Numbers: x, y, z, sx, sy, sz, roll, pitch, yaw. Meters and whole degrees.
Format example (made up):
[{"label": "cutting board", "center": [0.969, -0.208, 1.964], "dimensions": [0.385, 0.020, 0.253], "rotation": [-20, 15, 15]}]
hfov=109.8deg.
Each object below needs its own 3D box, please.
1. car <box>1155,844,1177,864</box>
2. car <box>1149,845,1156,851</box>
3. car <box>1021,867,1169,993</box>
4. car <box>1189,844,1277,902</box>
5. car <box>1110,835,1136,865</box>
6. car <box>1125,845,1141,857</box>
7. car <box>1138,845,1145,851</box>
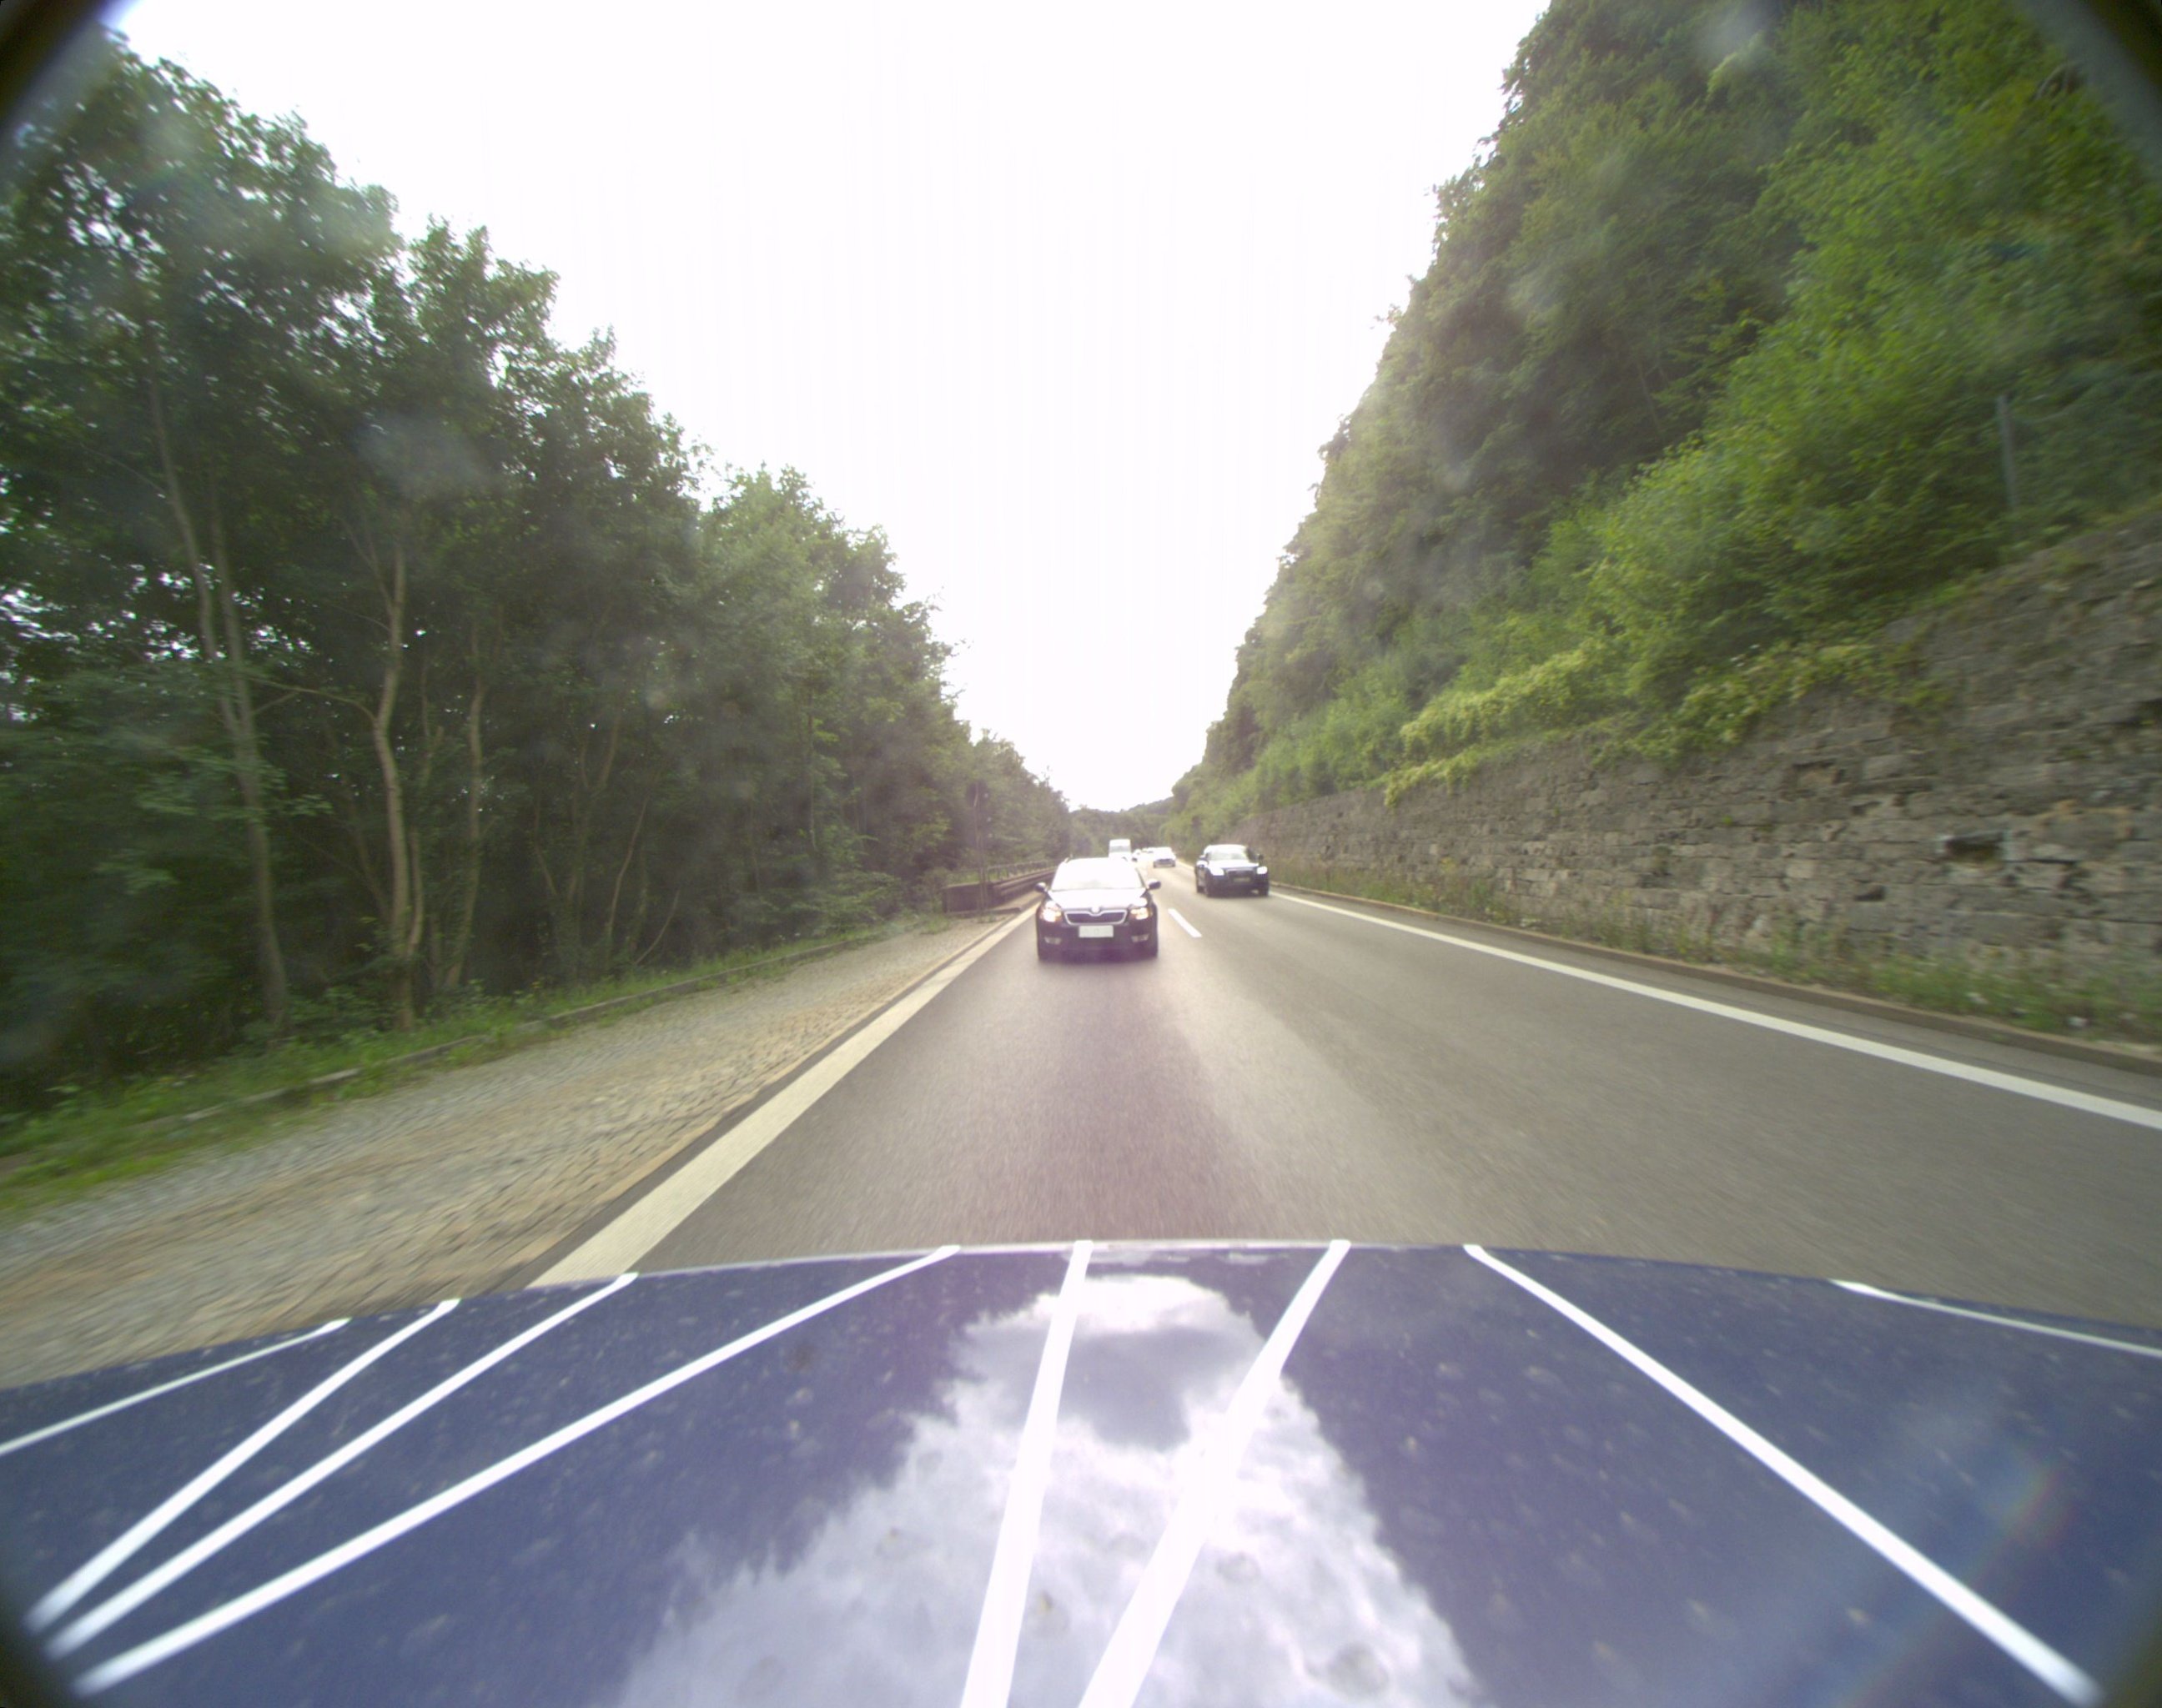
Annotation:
[{"label": "car", "center": [7.191, 0.035, 64.291], "dimensions": [1.822, 1.546, 4.002], "rotation": [-1, -1, 6]}, {"label": "car", "center": [21.584, -1.804, 229.144], "dimensions": [1.822, 1.546, 4.003], "rotation": [-1, -1, 7]}, {"label": "car", "center": [0.233, 0.903, 10.834], "dimensions": [1.638, 1.384, 4.500], "rotation": [-1, -1, 2]}, {"label": "car", "center": [4.964, 0.533, 25.611], "dimensions": [1.976, 1.584, 5.585], "rotation": [-4, 1, 3]}, {"label": "car", "center": [3.796, -0.326, 67.753], "dimensions": [2.098, 2.547, 5.922], "rotation": [-1, -1, 5]}, {"label": "car", "center": [6.816, -0.353, 99.690], "dimensions": [1.822, 1.546, 4.003], "rotation": [-1, -1, 7]}, {"label": "car", "center": [17.297, -1.686, 218.512], "dimensions": [1.822, 1.546, 4.003], "rotation": [-1, -1, 7]}]
